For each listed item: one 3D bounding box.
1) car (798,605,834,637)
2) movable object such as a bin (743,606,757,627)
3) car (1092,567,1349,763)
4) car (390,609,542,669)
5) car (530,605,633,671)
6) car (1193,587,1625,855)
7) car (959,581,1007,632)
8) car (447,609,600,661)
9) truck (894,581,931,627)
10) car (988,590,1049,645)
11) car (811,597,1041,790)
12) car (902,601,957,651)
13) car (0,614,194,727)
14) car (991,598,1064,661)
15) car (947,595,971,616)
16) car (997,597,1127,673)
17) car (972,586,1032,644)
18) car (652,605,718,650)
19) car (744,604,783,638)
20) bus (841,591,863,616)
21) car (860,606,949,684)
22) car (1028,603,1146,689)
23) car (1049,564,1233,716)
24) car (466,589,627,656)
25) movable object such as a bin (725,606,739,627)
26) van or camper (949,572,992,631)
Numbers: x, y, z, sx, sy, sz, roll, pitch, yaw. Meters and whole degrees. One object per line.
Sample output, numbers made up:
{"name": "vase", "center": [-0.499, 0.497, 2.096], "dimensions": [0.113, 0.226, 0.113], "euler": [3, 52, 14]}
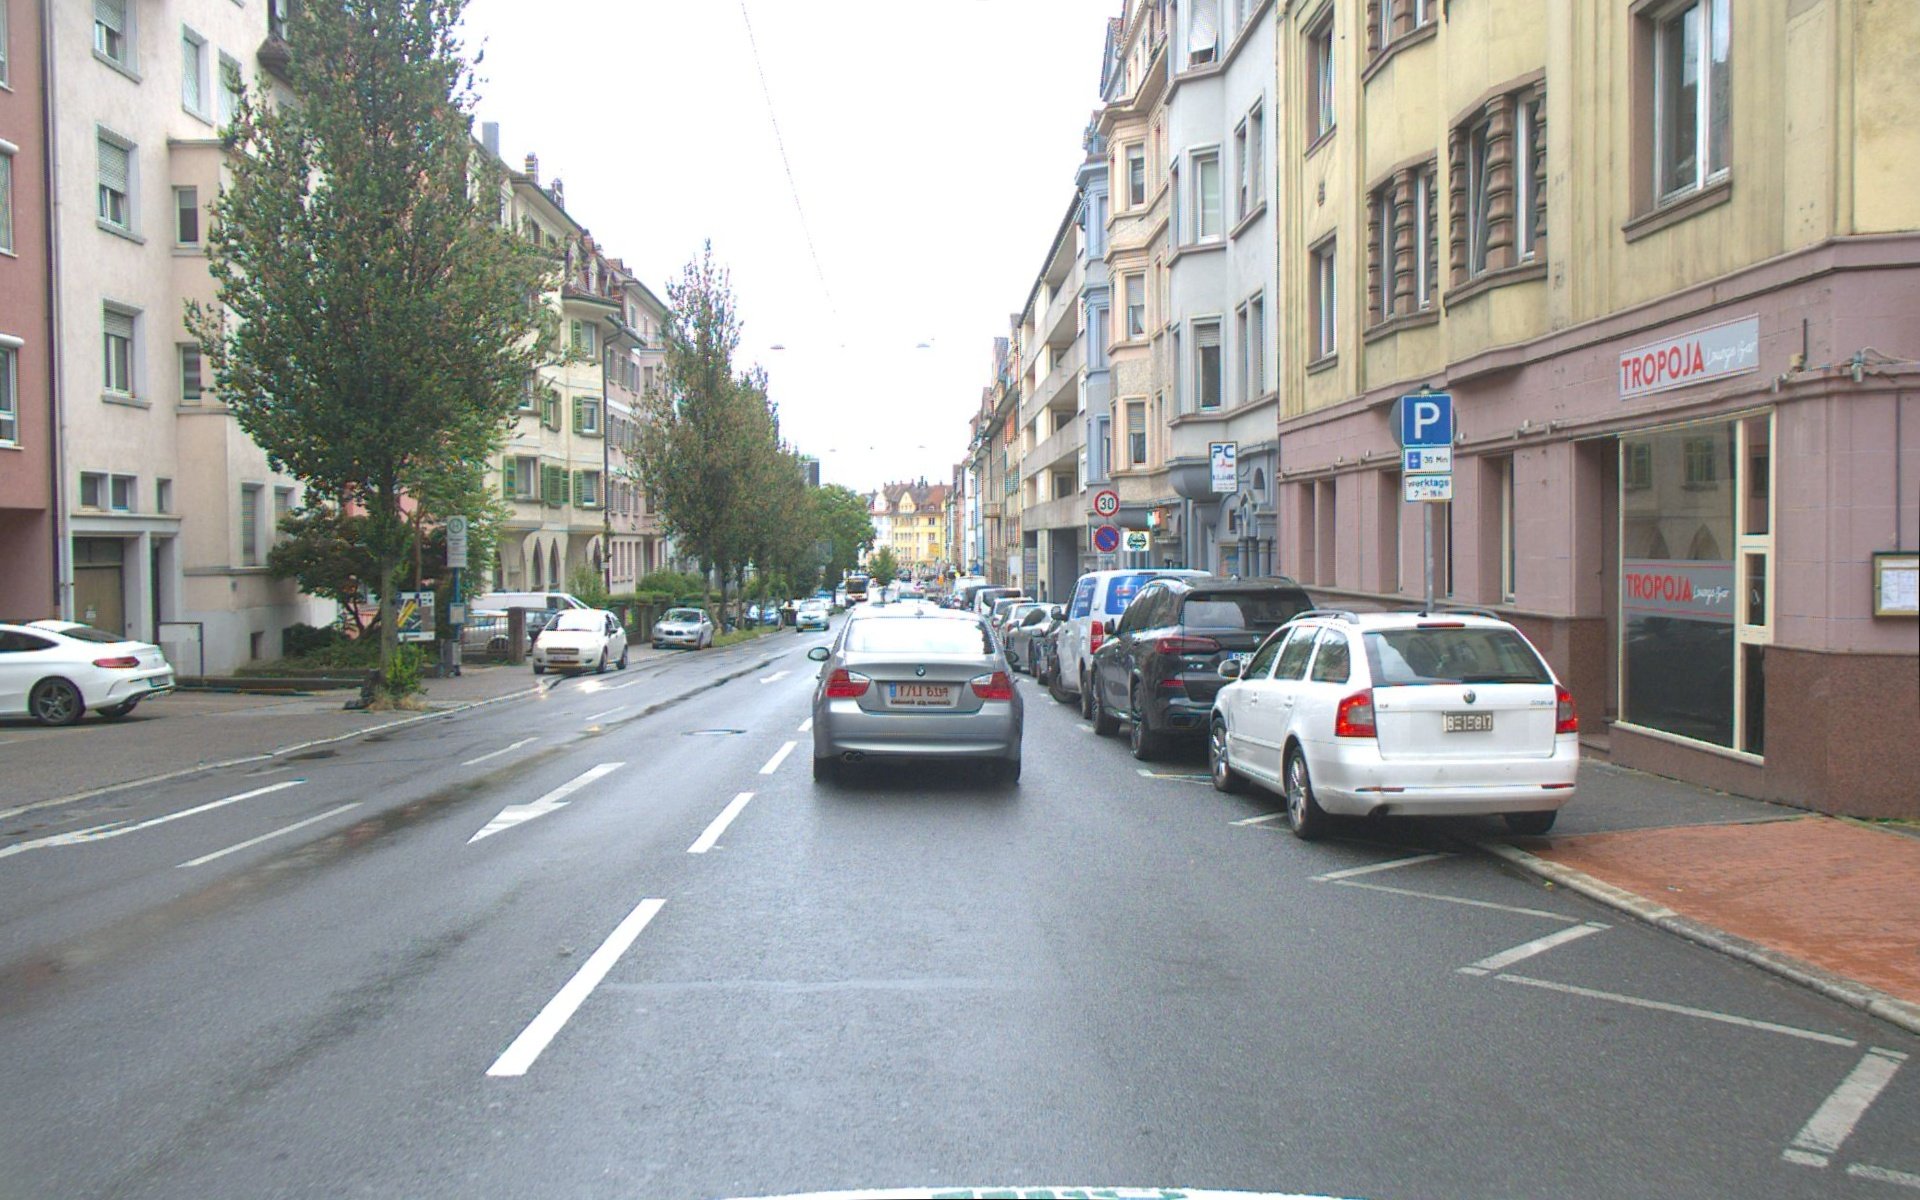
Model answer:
{"name": "car", "center": [-7.589, 1.079, 87.633], "dimensions": [1.603, 1.534, 3.753], "euler": [-3, 0, -2]}
{"name": "movable object such as a bin", "center": [-9.632, 0.747, 75.852], "dimensions": [0.565, 0.928, 0.637], "euler": [-2, 0, -16]}
{"name": "car", "center": [2.579, 0.595, 17.486], "dimensions": [1.841, 1.762, 4.675], "euler": [1, 0, -2]}
{"name": "car", "center": [-13.674, 1.061, 45.960], "dimensions": [3.810, 1.483, 1.788], "euler": [-2, 0, -9]}
{"name": "car", "center": [-9.063, 0.882, 39.882], "dimensions": [1.588, 1.471, 4.004], "euler": [-1, 0, -1]}
{"name": "car", "center": [3.019, 0.727, 12.164], "dimensions": [1.763, 1.592, 4.490], "euler": [1, 0, -3]}
{"name": "car", "center": [1.021, 0.282, 76.479], "dimensions": [1.942, 2.203, 4.748], "euler": [-2, 0, -2]}
{"name": "car", "center": [-13.651, 1.083, 51.956], "dimensions": [4.344, 1.477, 1.791], "euler": [-2, 0, -4]}
{"name": "truck", "center": [-2.661, 0.237, 92.199], "dimensions": [1.991, 2.455, 4.824], "euler": [1, 0, -2]}
{"name": "car", "center": [1.897, 0.561, 55.147], "dimensions": [1.691, 1.699, 4.287], "euler": [-3, 0, -2]}
{"name": "car", "center": [-0.329, 0.726, 14.495], "dimensions": [1.734, 1.453, 3.739], "euler": [1, 0, -2]}
{"name": "car", "center": [-0.993, 0.799, 52.125], "dimensions": [1.663, 1.509, 3.791], "euler": [1, 0, -2]}
{"name": "car", "center": [-13.354, 0.998, 23.076], "dimensions": [4.456, 1.425, 1.767], "euler": [-2, 0, -2]}
{"name": "car", "center": [1.659, 0.709, 41.727], "dimensions": [1.579, 1.500, 4.014], "euler": [0, 0, -2]}
{"name": "car", "center": [-0.100, 0.430, 125.007], "dimensions": [1.663, 1.509, 3.973], "euler": [1, 0, -2]}
{"name": "car", "center": [2.057, 0.699, 34.881], "dimensions": [1.840, 1.493, 4.766], "euler": [1, 0, -8]}
{"name": "car", "center": [1.539, 0.528, 61.845], "dimensions": [1.942, 2.042, 4.623], "euler": [-2, 0, -2]}
{"name": "car", "center": [-9.846, 0.968, 59.425], "dimensions": [1.691, 1.510, 3.988], "euler": [1, -1, -1]}
{"name": "car", "center": [-10.419, 1.102, 88.038], "dimensions": [1.731, 1.621, 3.998], "euler": [-3, 0, -3]}
{"name": "bus", "center": [-14.165, 0.456, 217.155], "dimensions": [2.615, 3.077, 7.668], "euler": [-2, 0, -2]}
{"name": "car", "center": [-1.064, 0.851, 33.083], "dimensions": [1.647, 1.453, 3.740], "euler": [1, 0, -1]}
{"name": "car", "center": [2.188, 0.765, 29.480], "dimensions": [1.643, 1.399, 4.274], "euler": [0, 0, -2]}
{"name": "car", "center": [2.431, 0.500, 23.467], "dimensions": [1.881, 1.859, 5.007], "euler": [-2, 0, -2]}
{"name": "car", "center": [-13.513, 0.718, 54.212], "dimensions": [4.731, 2.008, 2.047], "euler": [-2, 0, -2]}
{"name": "movable object such as a bin", "center": [-10.432, 0.762, 75.659], "dimensions": [0.565, 0.928, 0.637], "euler": [-2, 0, -16]}
{"name": "van or camper", "center": [0.608, 0.051, 86.945], "dimensions": [1.991, 2.919, 6.887], "euler": [2, 0, 2]}
